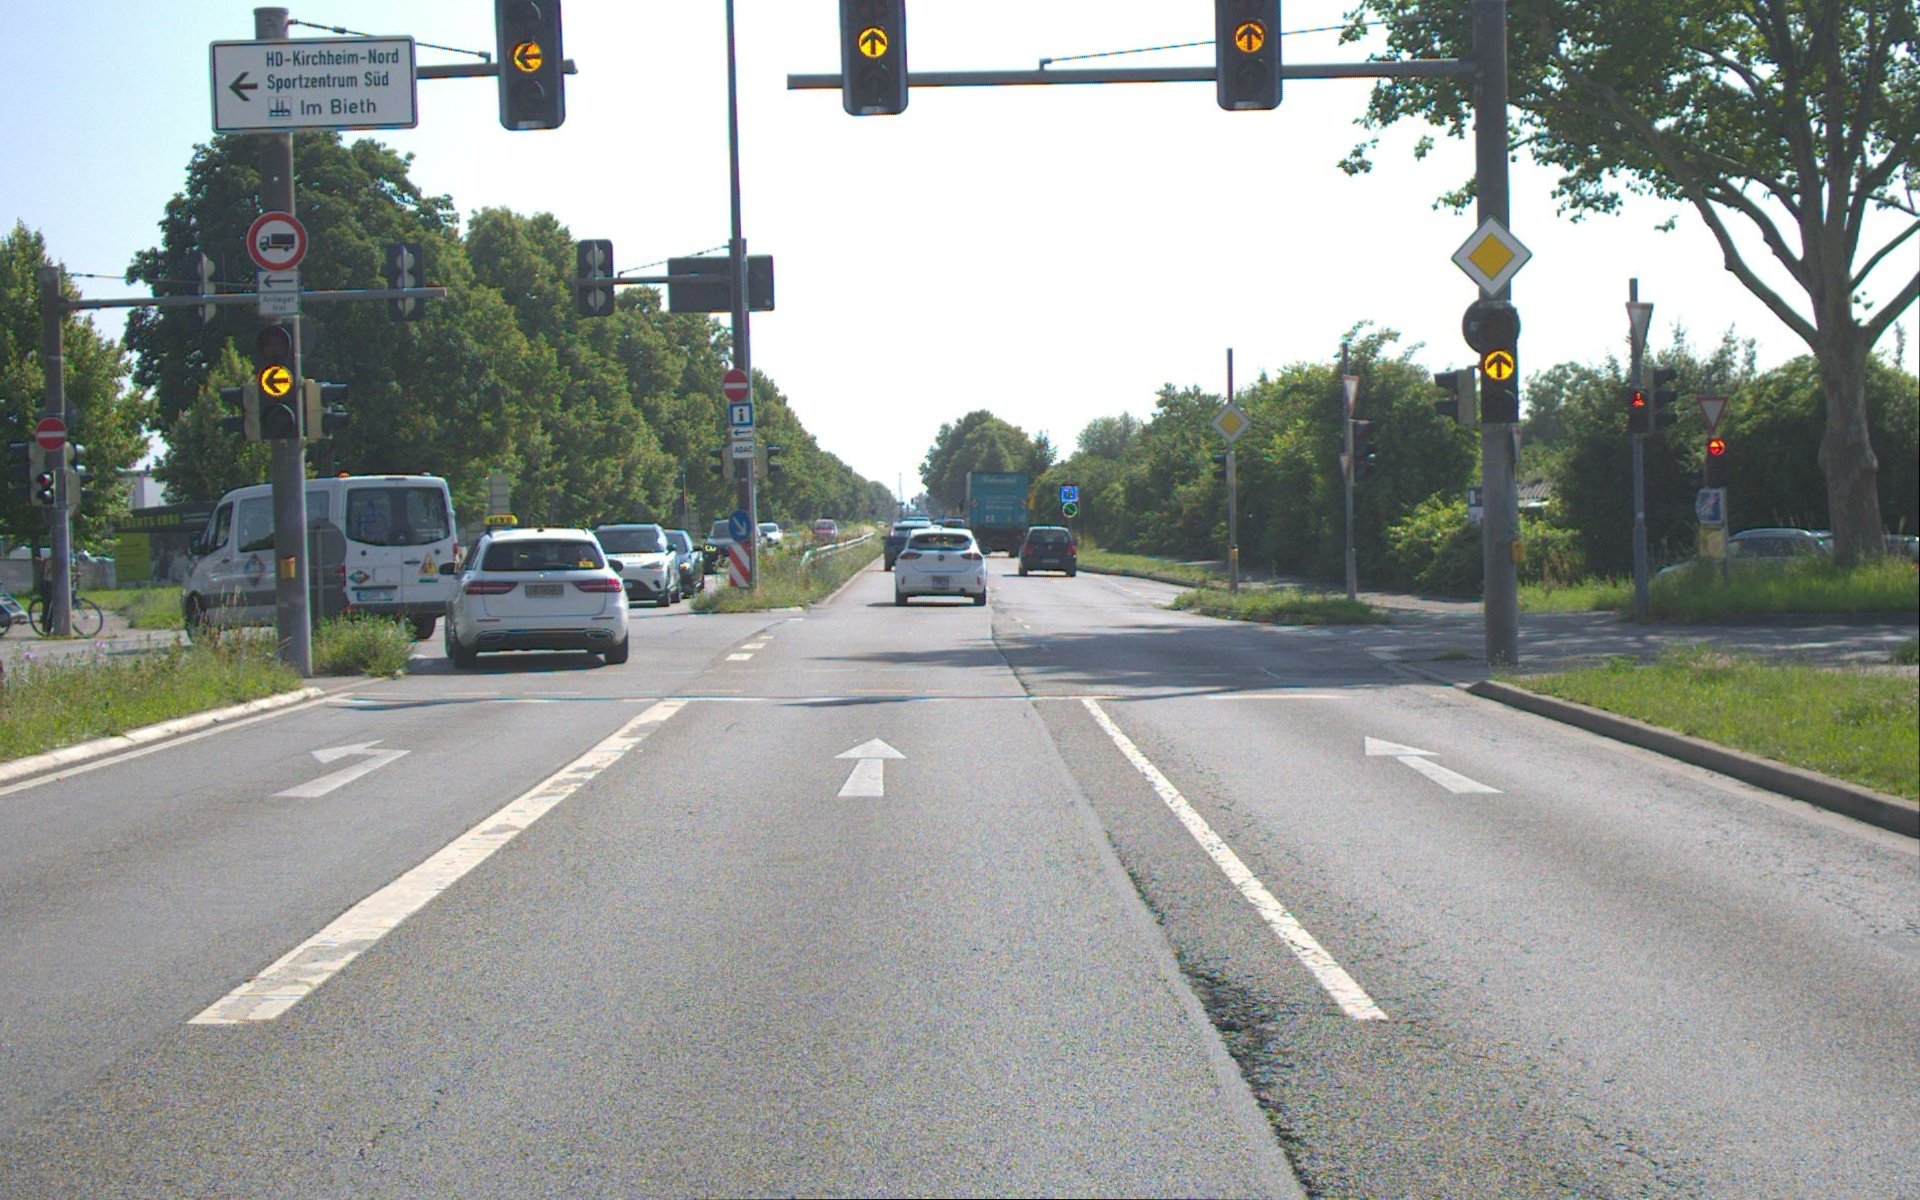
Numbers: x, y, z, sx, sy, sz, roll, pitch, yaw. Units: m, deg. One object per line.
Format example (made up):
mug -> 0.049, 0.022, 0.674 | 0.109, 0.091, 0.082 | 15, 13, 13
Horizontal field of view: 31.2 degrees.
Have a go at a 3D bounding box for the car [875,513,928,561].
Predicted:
car -> -1.783, -1.949, 106.046 | 1.572, 1.409, 3.278 | -1, 2, 0

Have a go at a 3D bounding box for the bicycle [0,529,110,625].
bicycle -> -16.846, -0.404, 62.107 | 2.796, 1.664, 1.134 | -1, 2, 27

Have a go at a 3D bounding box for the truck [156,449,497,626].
truck -> -9.298, -0.921, 49.991 | 2.374, 2.380, 6.039 | -3, 2, -37

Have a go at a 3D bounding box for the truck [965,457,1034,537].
truck -> 1.736, -4.643, 154.510 | 2.891, 3.416, 9.170 | -1, 2, 0

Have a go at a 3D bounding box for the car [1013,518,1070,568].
car -> 2.345, -1.658, 99.921 | 1.572, 1.409, 3.278 | 0, 1, 0

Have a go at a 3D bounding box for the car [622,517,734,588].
car -> -6.097, -1.058, 74.766 | 1.817, 1.480, 4.893 | 0, 2, 2

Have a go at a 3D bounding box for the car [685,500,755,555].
car -> -7.248, -2.201, 104.003 | 1.847, 1.589, 4.618 | -2, 2, -1

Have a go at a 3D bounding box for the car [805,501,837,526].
car -> -8.908, -5.552, 220.518 | 1.912, 1.497, 4.092 | -1, 2, -2

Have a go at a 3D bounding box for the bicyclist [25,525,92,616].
bicyclist -> -16.163, -0.532, 61.667 | 0.863, 1.613, 0.757 | 0, 1, 28

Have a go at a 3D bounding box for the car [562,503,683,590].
car -> -6.627, -1.072, 67.937 | 2.010, 1.604, 4.211 | -2, 1, -1

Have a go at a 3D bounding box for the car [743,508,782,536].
car -> -10.854, -4.297, 189.487 | 1.993, 1.497, 4.092 | -1, 2, -2

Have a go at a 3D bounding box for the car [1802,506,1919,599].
car -> 16.232, -0.795, 58.216 | 1.616, 1.542, 3.825 | 1, 0, -30

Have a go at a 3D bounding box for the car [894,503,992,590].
car -> -0.299, -1.040, 64.996 | 1.799, 1.547, 4.000 | 0, 2, 1

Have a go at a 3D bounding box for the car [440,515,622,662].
car -> -4.706, -0.169, 37.909 | 1.812, 1.459, 4.972 | -2, 1, -7
